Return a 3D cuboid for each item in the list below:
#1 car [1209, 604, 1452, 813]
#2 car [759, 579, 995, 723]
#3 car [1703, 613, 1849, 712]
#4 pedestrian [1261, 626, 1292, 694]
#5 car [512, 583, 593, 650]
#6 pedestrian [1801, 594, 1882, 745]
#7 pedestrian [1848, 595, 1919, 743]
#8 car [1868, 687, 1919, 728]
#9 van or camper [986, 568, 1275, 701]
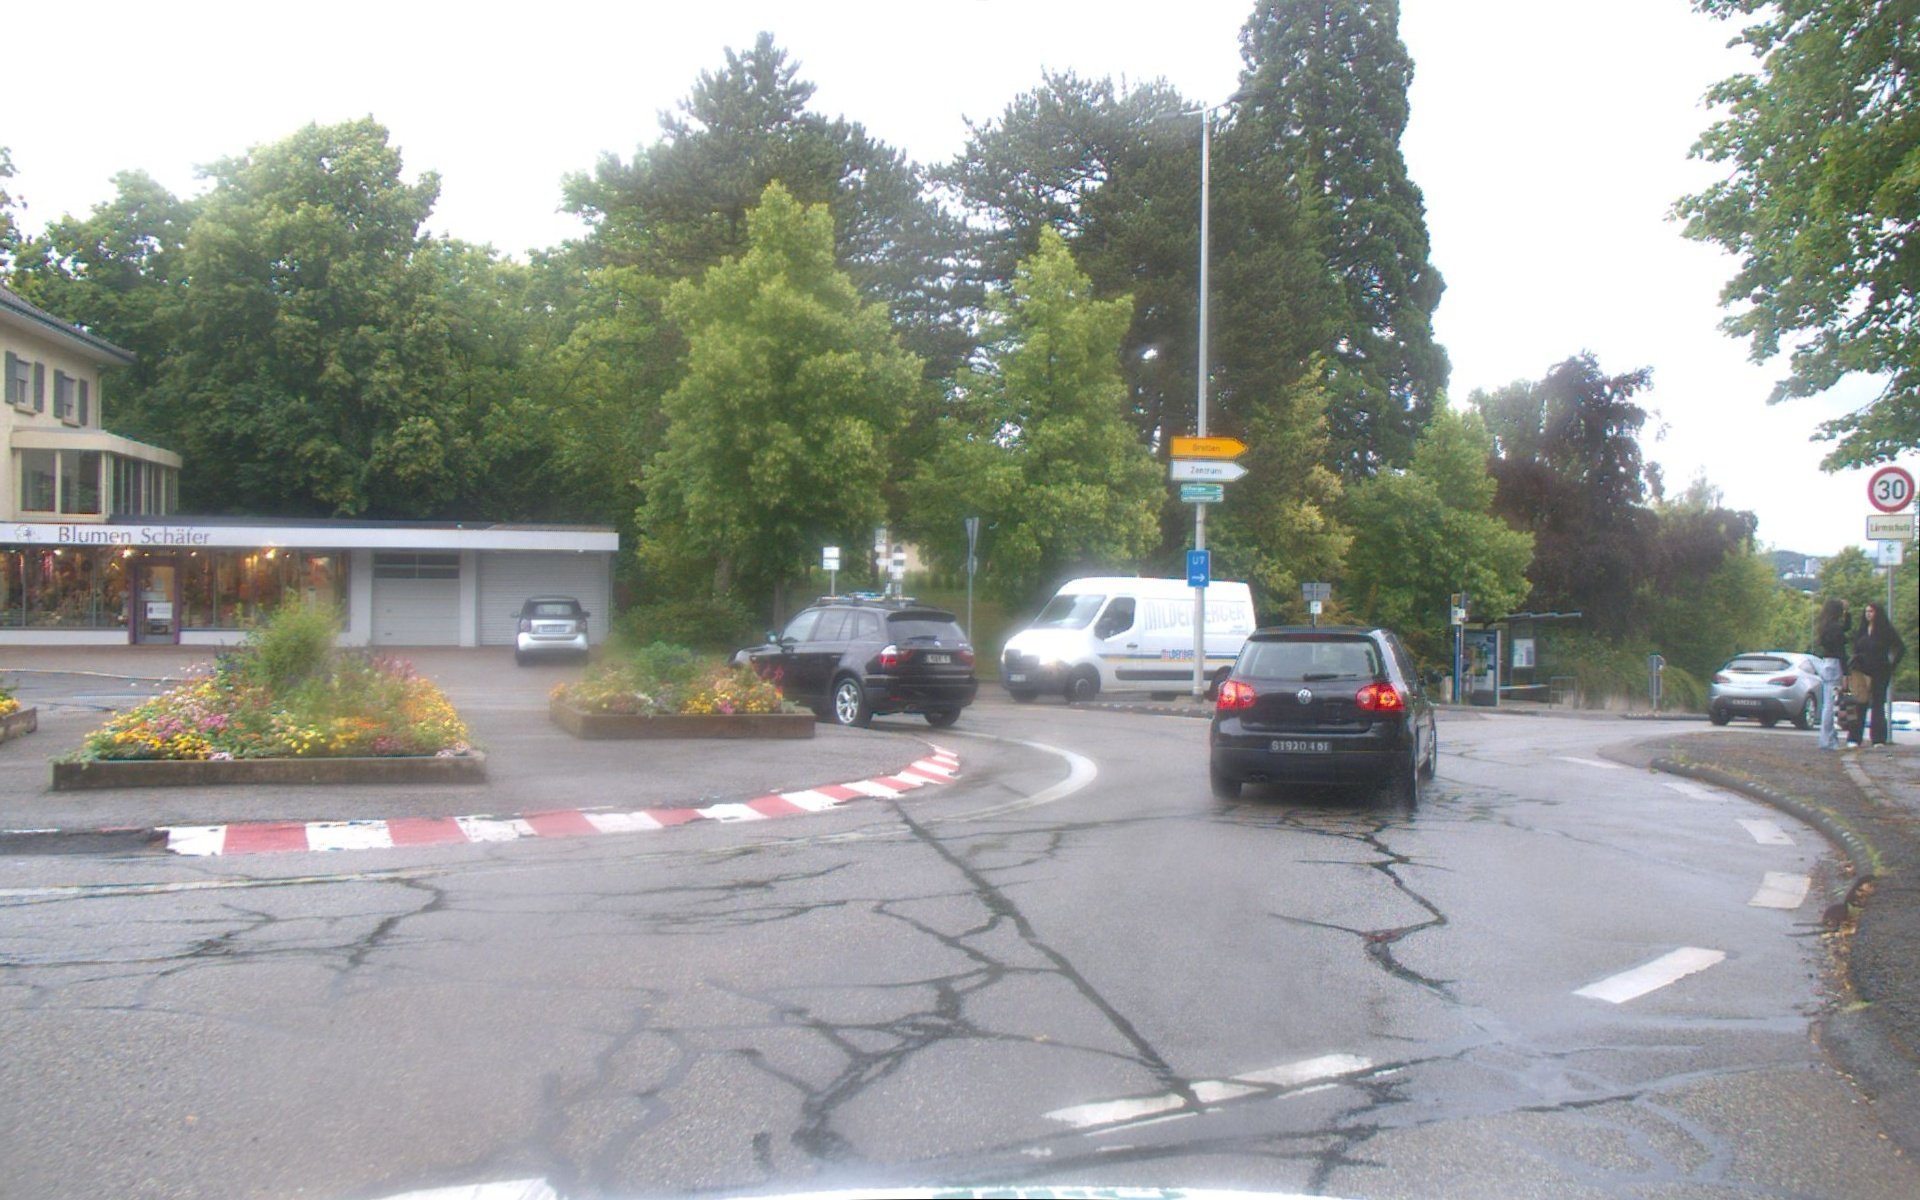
[{"bbox_3d":[3.483,0.850,15.022,1.728,1.565,4.002,2,0,18],"label":"car"},{"bbox_3d":[-1.275,0.680,23.327,1.744,1.833,4.208,0,-1,-27],"label":"car"},{"bbox_3d":[16.292,1.182,32.927,1.737,1.833,4.226,-1,-1,38],"label":"car"},{"bbox_3d":[8.388,1.587,43.804,0.722,1.756,0.817,1,-1,15],"label":"pedestrian"},{"bbox_3d":[-9.722,0.374,39.662,1.781,1.512,3.818,0,0,-13],"label":"car"},{"bbox_3d":[10.361,0.811,19.447,0.520,1.743,0.632,2,-1,-20],"label":"pedestrian"},{"bbox_3d":[11.149,0.826,19.944,0.620,1.743,0.530,2,-1,10],"label":"pedestrian"},{"bbox_3d":[35.997,4.122,62.977,1.877,1.417,4.496,2,-3,37],"label":"car"},{"bbox_3d":[3.428,0.721,32.628,5.602,2.420,2.174,3,-1,-35],"label":"van or camper"}]
